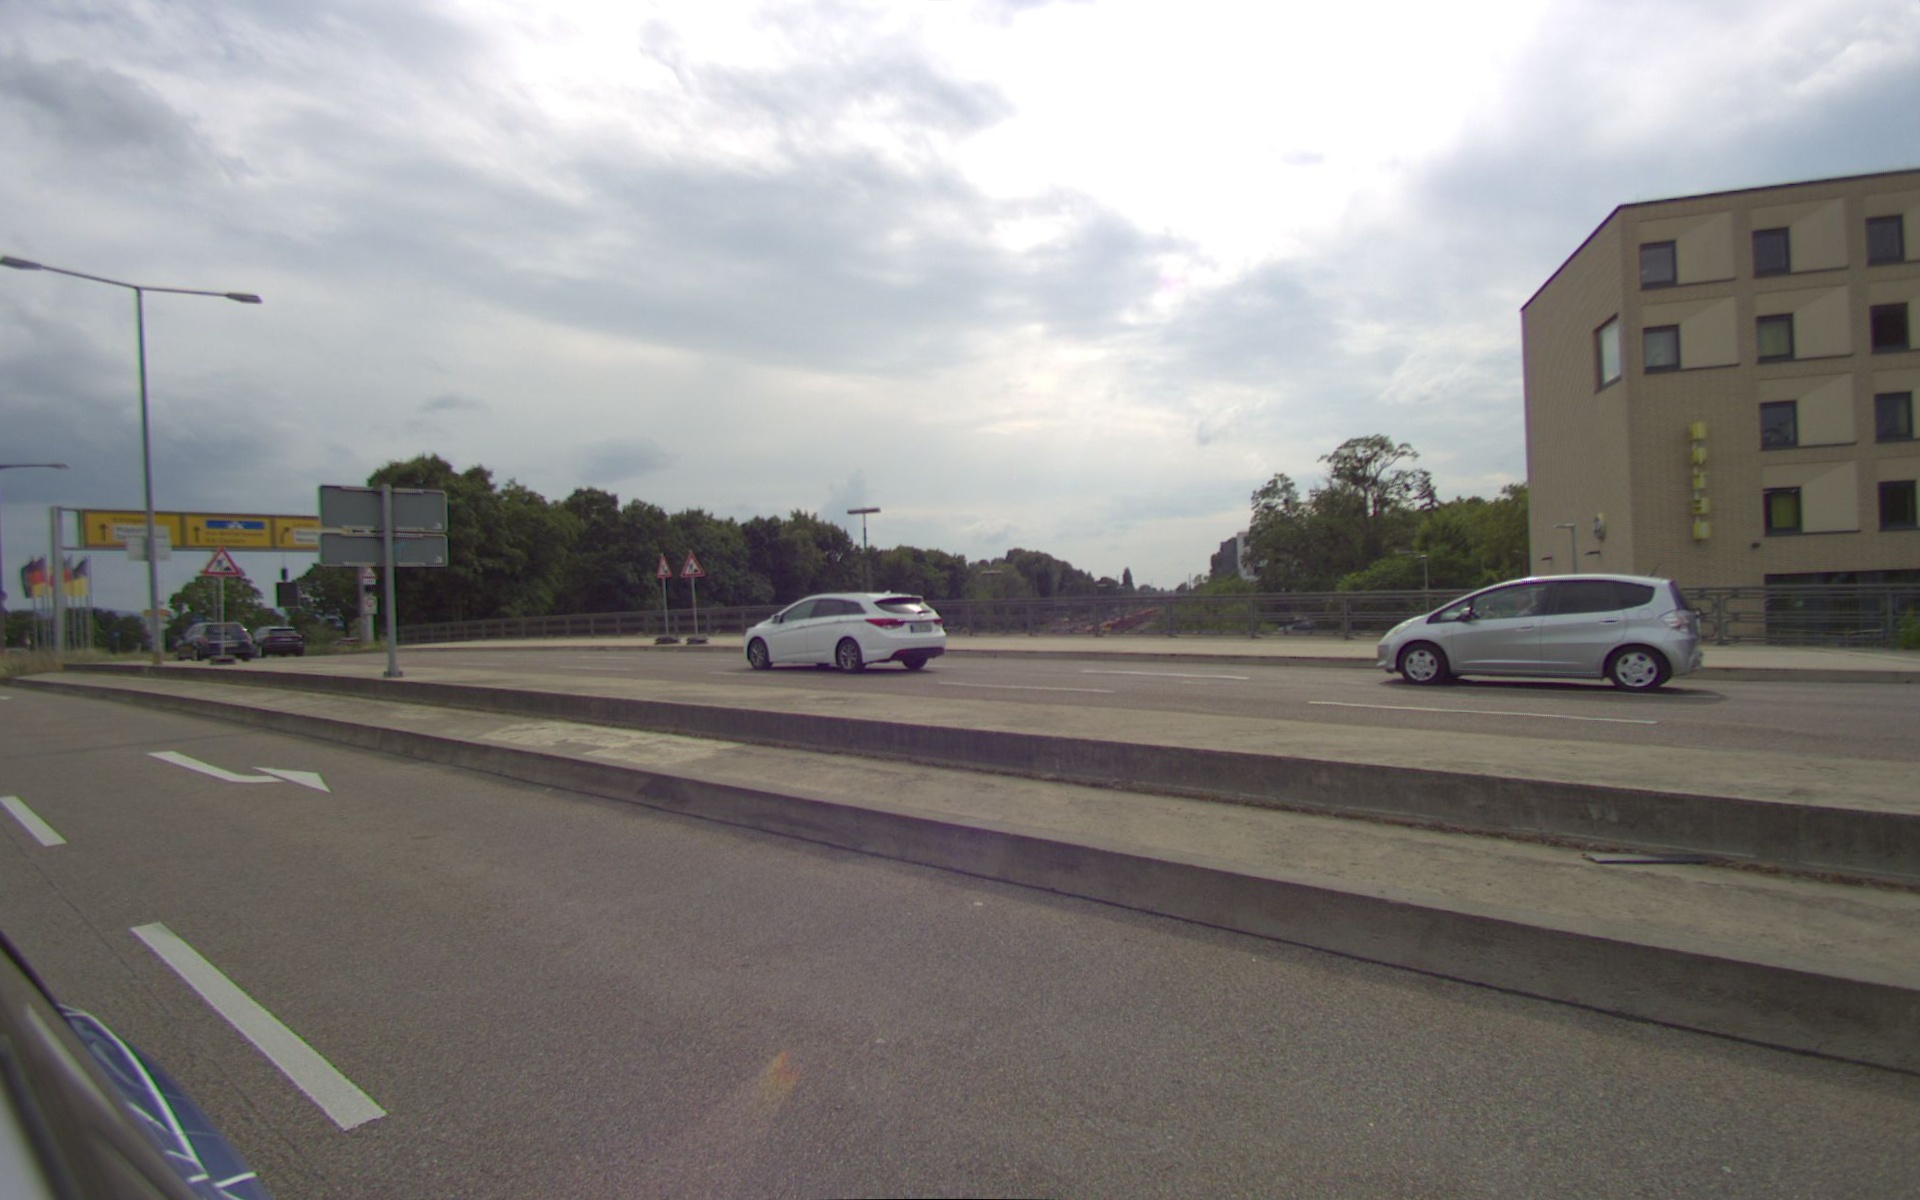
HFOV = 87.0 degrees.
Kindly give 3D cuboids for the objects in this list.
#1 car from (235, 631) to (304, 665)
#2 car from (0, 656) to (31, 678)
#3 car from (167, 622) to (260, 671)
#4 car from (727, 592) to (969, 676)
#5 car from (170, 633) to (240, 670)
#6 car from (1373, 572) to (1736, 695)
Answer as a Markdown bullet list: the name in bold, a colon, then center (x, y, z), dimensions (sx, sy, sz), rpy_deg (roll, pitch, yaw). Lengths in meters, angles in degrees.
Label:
- **car**: center (-36.680, 2.517, 53.731), dimensions (4.542, 1.652, 1.868), rpy_deg (-2, -1, 41)
- **car**: center (-75.003, 5.258, 79.993), dimensions (3.913, 1.543, 1.706), rpy_deg (-2, -1, 39)
- **car**: center (-28.043, 1.717, 37.966), dimensions (4.583, 1.652, 1.867), rpy_deg (-2, -1, 42)
- **car**: center (-2.279, 0.651, 19.520), dimensions (4.881, 1.426, 1.898), rpy_deg (-3, -2, 43)
- **car**: center (-37.170, 2.516, 49.811), dimensions (4.215, 1.652, 1.868), rpy_deg (-2, -1, 40)
- **car**: center (7.955, 0.416, 13.707), dimensions (4.025, 1.426, 1.791), rpy_deg (-1, 0, 39)
